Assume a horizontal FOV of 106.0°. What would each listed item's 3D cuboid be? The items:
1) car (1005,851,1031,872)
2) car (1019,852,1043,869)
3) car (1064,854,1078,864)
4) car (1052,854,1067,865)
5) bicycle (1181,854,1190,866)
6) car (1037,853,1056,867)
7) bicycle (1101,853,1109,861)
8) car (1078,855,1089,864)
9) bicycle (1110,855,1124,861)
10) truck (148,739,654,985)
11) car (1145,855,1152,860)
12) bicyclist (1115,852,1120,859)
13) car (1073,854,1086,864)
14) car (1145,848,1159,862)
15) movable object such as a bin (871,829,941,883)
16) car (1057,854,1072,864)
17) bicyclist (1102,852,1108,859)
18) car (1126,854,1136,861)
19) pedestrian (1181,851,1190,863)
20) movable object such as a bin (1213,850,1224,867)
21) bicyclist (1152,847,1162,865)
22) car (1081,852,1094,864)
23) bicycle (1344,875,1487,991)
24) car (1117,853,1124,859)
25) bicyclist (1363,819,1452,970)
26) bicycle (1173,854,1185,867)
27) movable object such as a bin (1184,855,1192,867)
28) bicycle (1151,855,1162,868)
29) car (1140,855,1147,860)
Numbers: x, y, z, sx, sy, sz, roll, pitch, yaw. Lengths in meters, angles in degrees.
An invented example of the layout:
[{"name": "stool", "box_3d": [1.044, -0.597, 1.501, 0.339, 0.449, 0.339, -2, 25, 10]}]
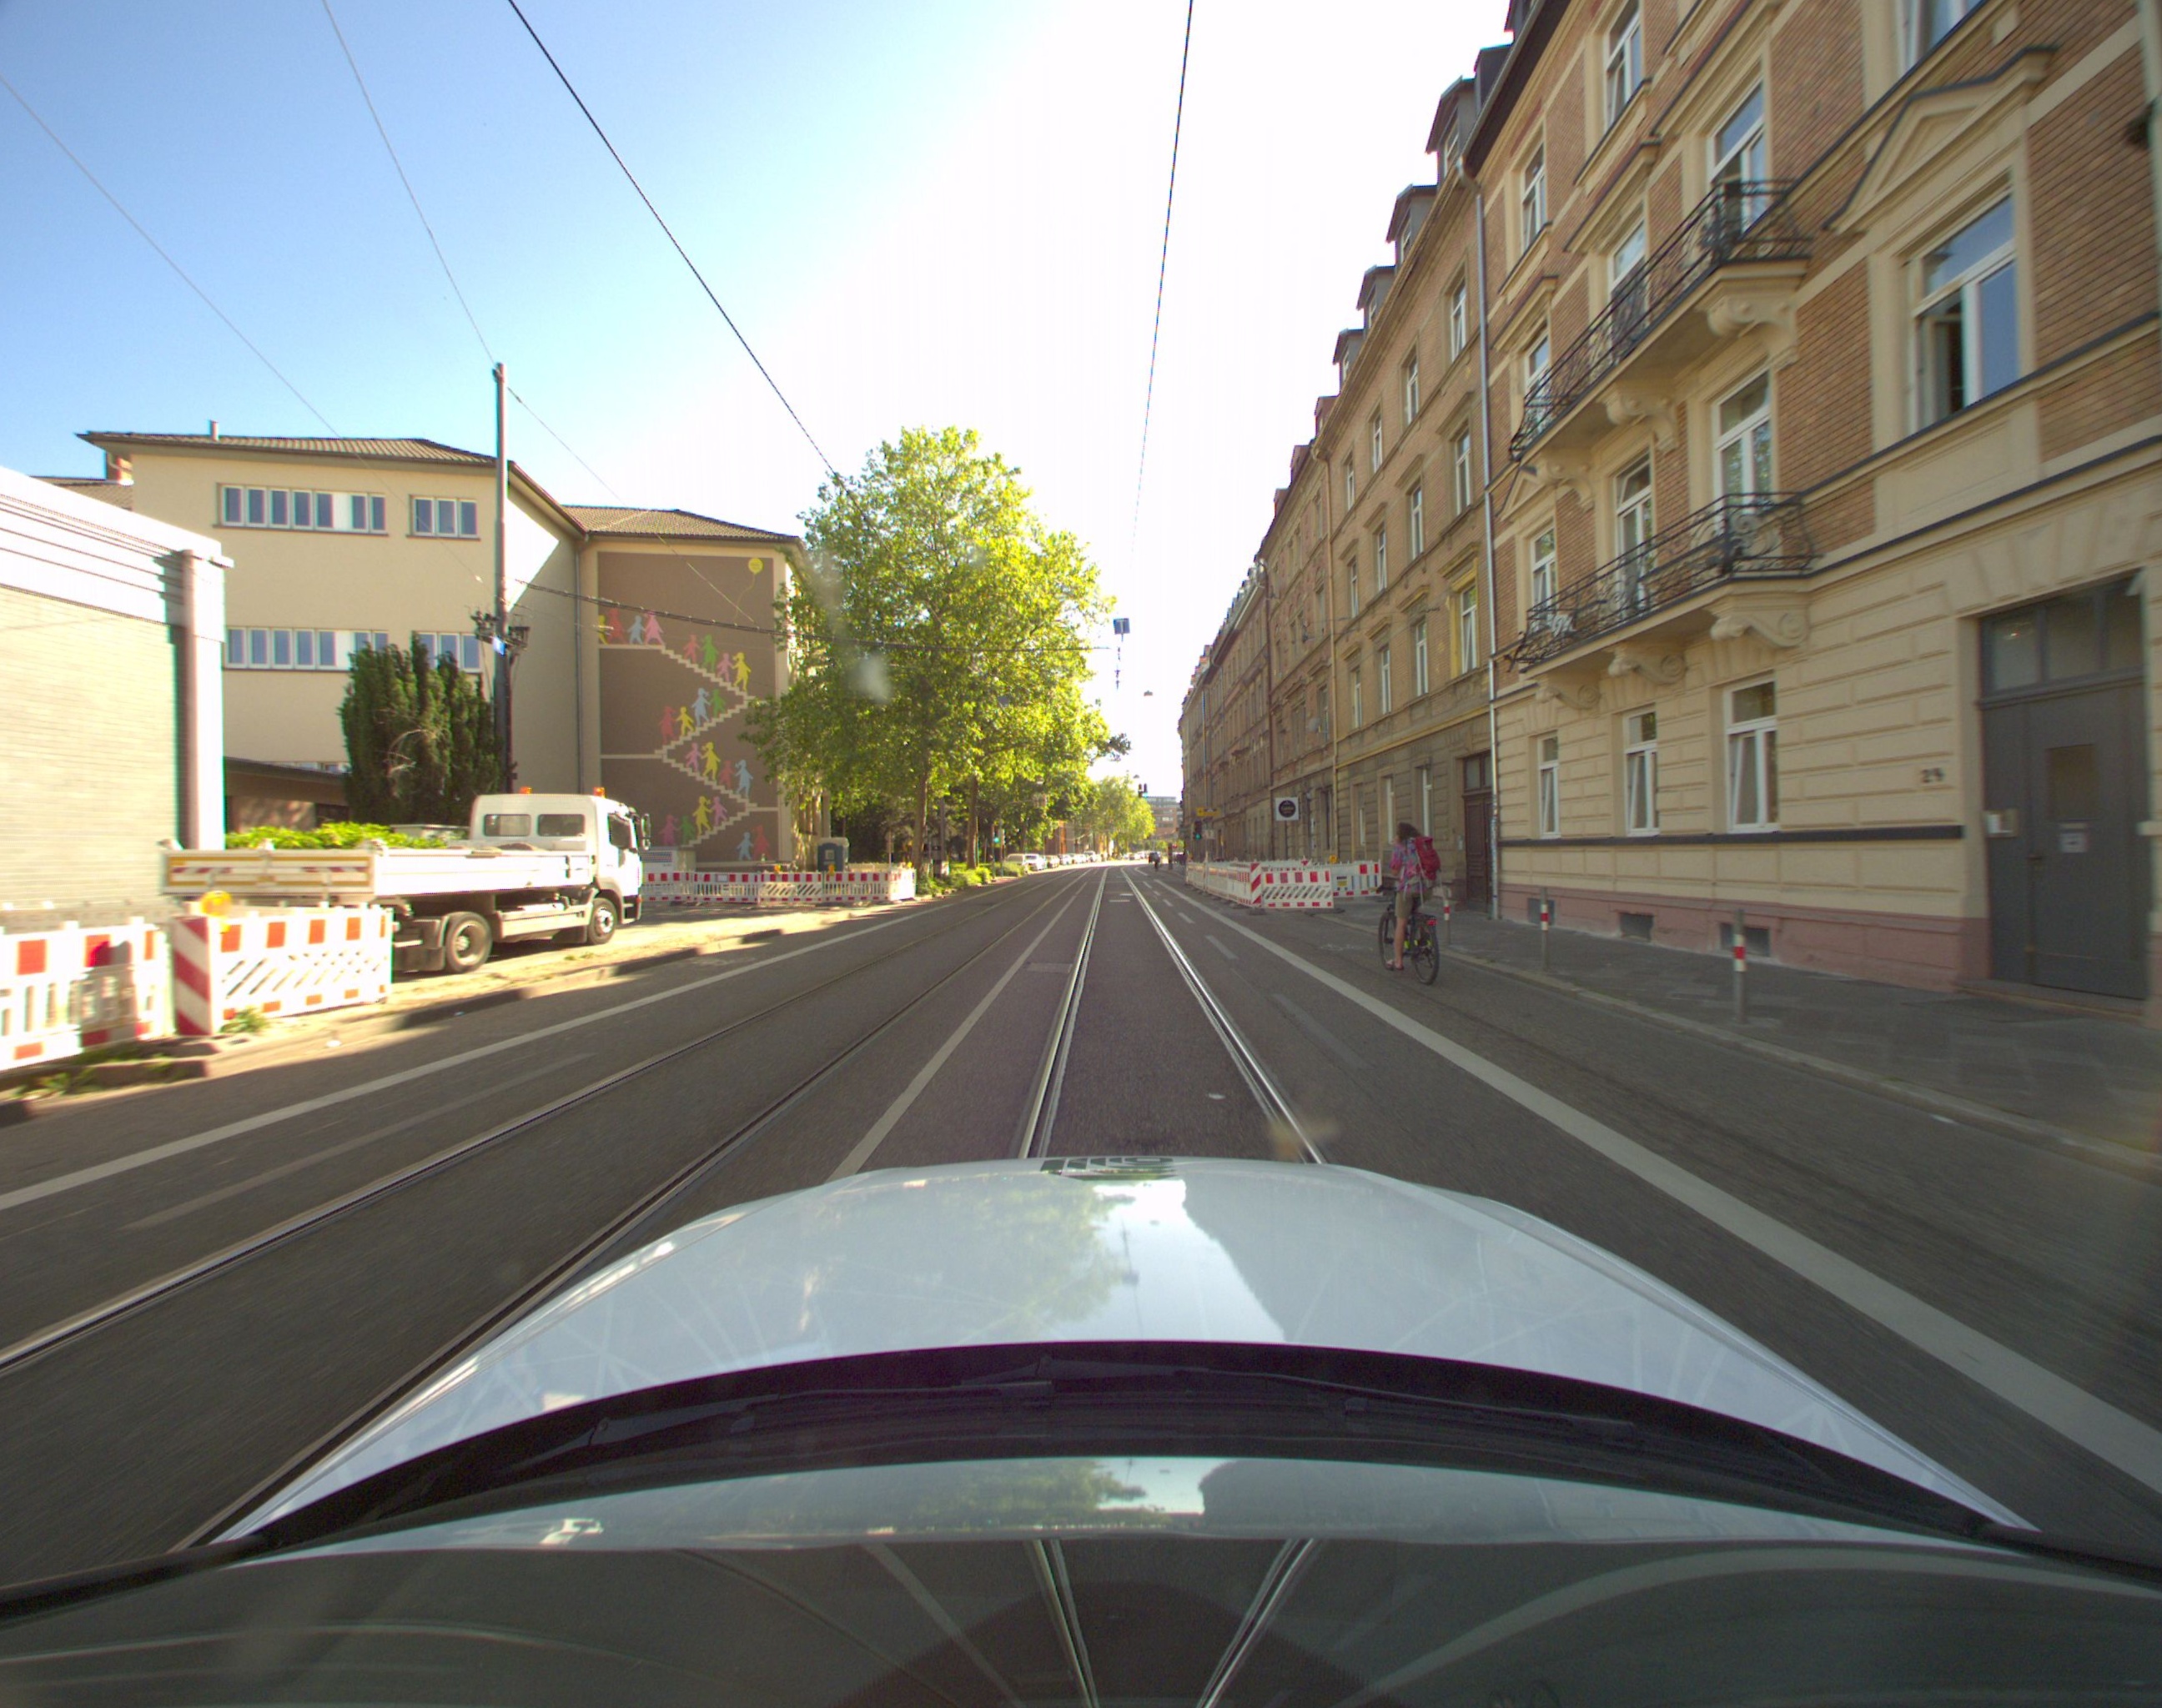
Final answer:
[{"name": "car", "box_3d": [-5.200, 0.643, 67.378, 1.538, 1.658, 3.767, 0, 0, 5]}, {"name": "car", "box_3d": [-4.751, 0.593, 77.697, 1.740, 1.608, 4.048, 0, 0, 5]}, {"name": "car", "box_3d": [-1.514, 0.792, 126.689, 1.740, 1.587, 4.048, 0, 0, 5]}, {"name": "car", "box_3d": [-3.016, 0.750, 116.216, 1.740, 1.495, 4.048, 0, 0, 5]}, {"name": "bicycle", "box_3d": [10.072, 0.569, 78.407, 0.637, 1.118, 2.299, 0, -1, 3]}, {"name": "car", "box_3d": [-3.926, 0.680, 93.275, 1.740, 1.509, 4.048, 0, 0, 5]}, {"name": "bicycle", "box_3d": [4.900, 0.629, 166.974, 1.227, 1.572, 2.904, 0, -1, 9]}, {"name": "car", "box_3d": [0.450, 0.918, 141.913, 1.740, 1.587, 4.048, 0, 0, 5]}, {"name": "bicycle", "box_3d": [7.477, 0.836, 169.695, 2.868, 1.231, 0.887, 0, -1, 12]}, {"name": "truck", "box_3d": [-9.510, 0.124, 12.597, 2.531, 2.830, 6.372, 0, 0, -2]}, {"name": "car", "box_3d": [18.669, 0.990, 223.740, 1.739, 1.422, 4.051, 0, 0, 7]}, {"name": "bicyclist", "box_3d": [7.586, 0.377, 169.668, 0.893, 1.427, 1.056, 0, -1, 11]}, {"name": "car", "box_3d": [-0.216, 0.875, 136.735, 1.740, 1.587, 4.048, 0, 0, 5]}, {"name": "car", "box_3d": [10.568, 0.172, 121.495, 1.985, 2.014, 4.002, 0, -1, 3]}, {"name": "movable object such as a bin", "box_3d": [-9.214, 0.097, 43.549, 2.487, 2.645, 5.987, 0, 0, -1]}, {"name": "car", "box_3d": [-2.410, 0.746, 121.269, 1.740, 1.587, 4.048, 0, 0, 5]}, {"name": "bicyclist", "box_3d": [4.949, 0.389, 166.934, 1.071, 1.427, 1.149, 0, -1, 10]}, {"name": "car", "box_3d": [10.741, 0.813, 174.664, 1.739, 1.422, 4.051, 0, 0, 7]}, {"name": "pedestrian", "box_3d": [14.614, 0.441, 113.935, 1.050, 1.760, 1.333, 0, -1, 2]}, {"name": "movable object such as a bin", "box_3d": [9.100, 0.297, 53.902, 0.618, 1.110, 0.780, 0, -1, -1]}, {"name": "bicyclist", "box_3d": [6.543, 0.182, 70.413, 0.835, 1.558, 0.966, 0, -1, 2]}, {"name": "car", "box_3d": [1.199, 0.700, 146.928, 2.049, 2.052, 4.048, 0, -1, 5]}, {"name": "bicycle", "box_3d": [3.861, 0.846, 9.692, 0.678, 1.114, 2.708, 0, 0, 2]}, {"name": "car", "box_3d": [11.143, 0.486, 228.598, 1.739, 1.625, 4.051, 0, 0, 7]}, {"name": "bicyclist", "box_3d": [3.860, 0.455, 9.694, 0.664, 1.697, 1.043, 0, -1, 2]}, {"name": "bicycle", "box_3d": [11.204, 0.743, 93.109, 0.964, 1.515, 3.258, 0, -1, 14]}, {"name": "movable object such as a bin", "box_3d": [9.475, 0.652, 72.085, 0.671, 1.036, 0.814, -1, 1, 2]}, {"name": "bicycle", "box_3d": [6.533, 0.665, 70.419, 0.852, 1.088, 2.488, 0, 0, 2]}, {"name": "car", "box_3d": [16.338, 0.895, 211.946, 1.739, 1.422, 4.051, 0, 0, 7]}]
